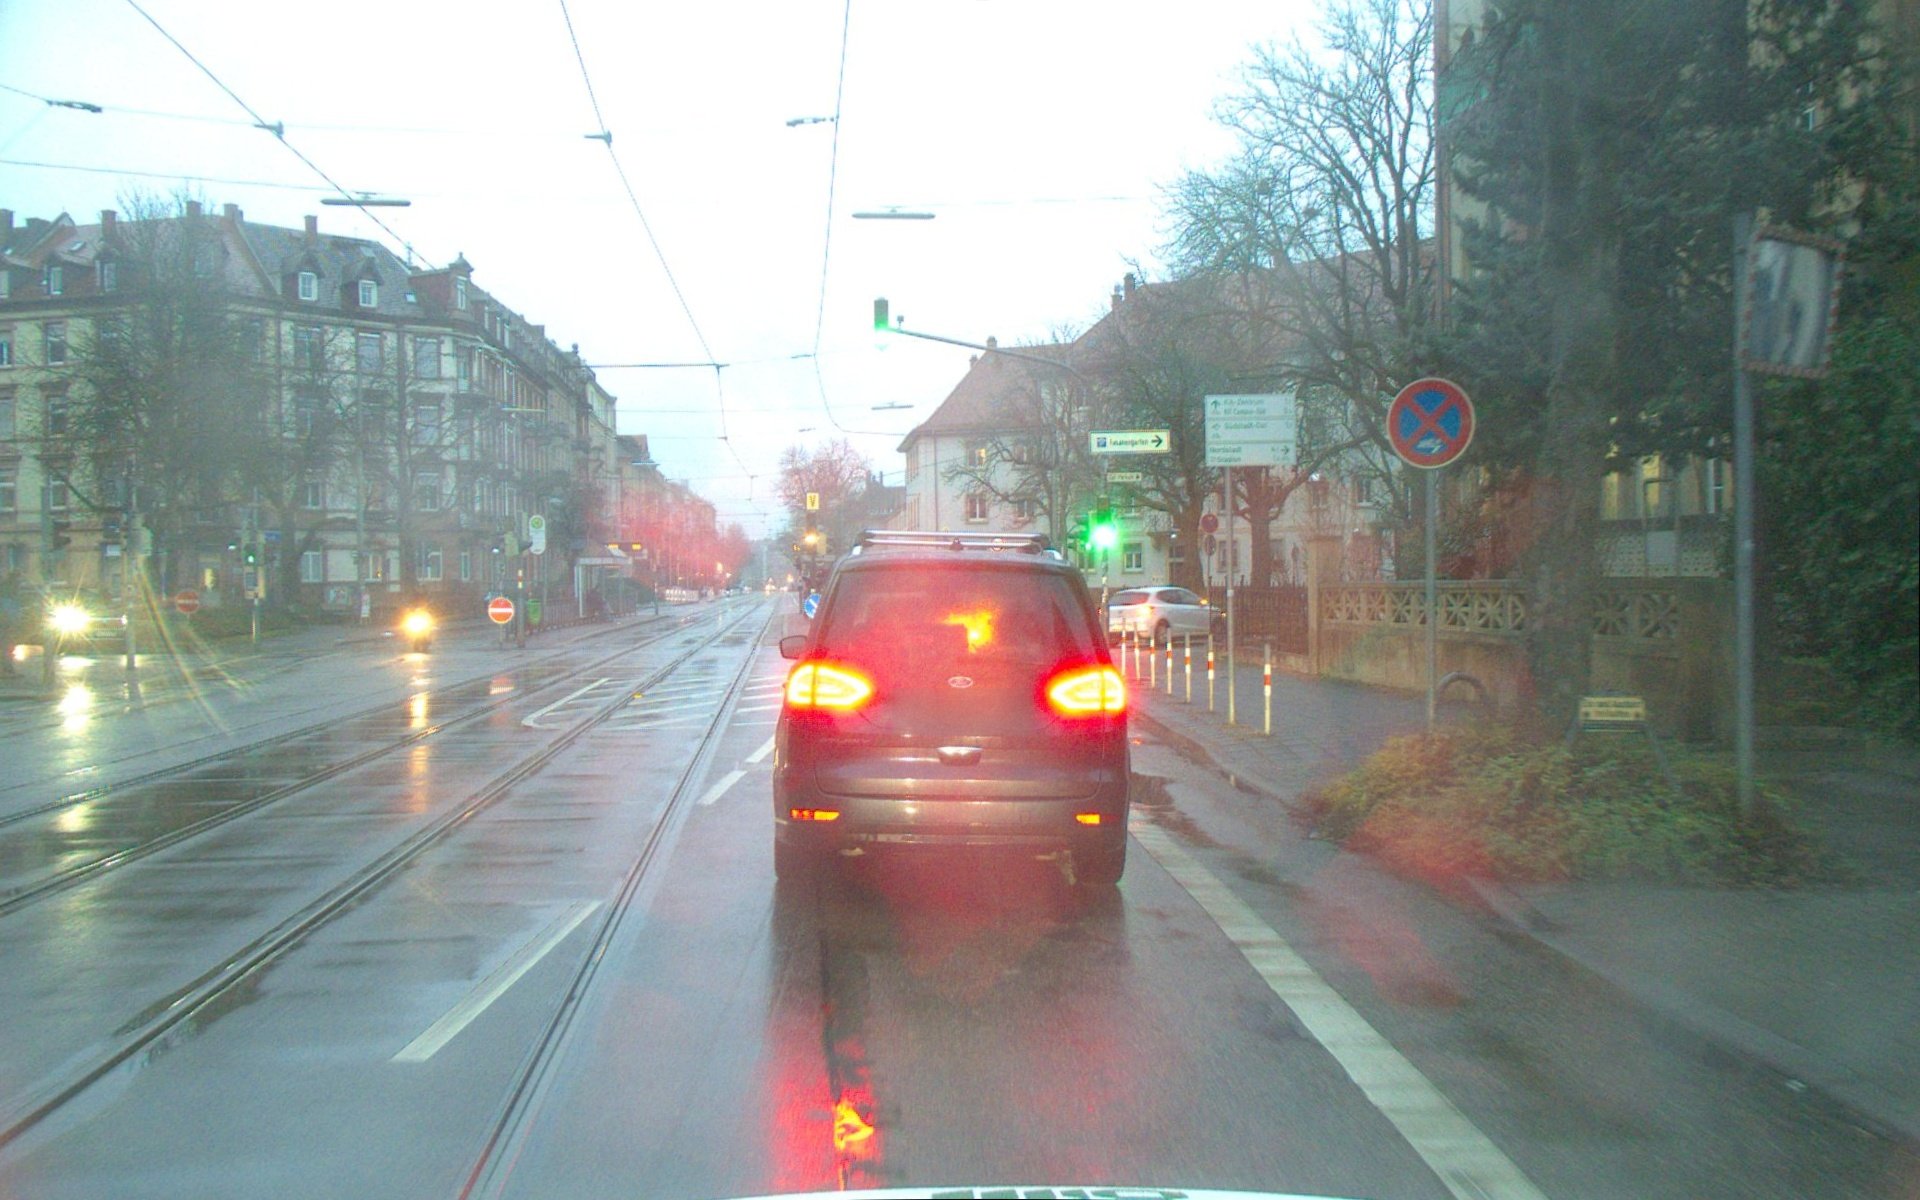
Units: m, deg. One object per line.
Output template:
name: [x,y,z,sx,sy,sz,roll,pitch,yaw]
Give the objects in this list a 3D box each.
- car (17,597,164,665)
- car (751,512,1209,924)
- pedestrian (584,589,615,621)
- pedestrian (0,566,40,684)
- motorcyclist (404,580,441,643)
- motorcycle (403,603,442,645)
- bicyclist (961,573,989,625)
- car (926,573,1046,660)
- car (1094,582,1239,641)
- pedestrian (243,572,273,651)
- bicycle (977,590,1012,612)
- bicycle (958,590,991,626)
car: [-23.269,0.794,44.233,3.921,1.702,2.014,0,1,37]
car: [-0.037,0.525,9.855,2.062,1.848,4.657,1,0,-4]
pedestrian: [-13.497,0.187,61.949,1.027,1.221,0.884,0,0,-5]
pedestrian: [-16.682,0.432,29.020,0.742,2.049,0.646,0,0,30]
motorcyclist: [-13.693,0.292,42.177,0.830,1.575,1.011,-1,0,-16]
motorcycle: [-13.695,0.603,42.182,0.842,1.009,1.911,-1,1,-16]
bicyclist: [0.501,-0.030,55.930,0.704,1.691,1.054,3,0,-10]
car: [0.601,0.320,34.433,1.672,1.691,4.003,0,0,13]
car: [5.267,0.266,41.852,1.641,1.400,3.974,0,1,43]
pedestrian: [-18.506,0.298,43.592,0.695,2.049,0.655,-1,0,-25]
bicycle: [1.940,0.071,93.531,1.814,1.204,0.713,0,0,27]
bicycle: [0.482,0.260,55.964,0.704,1.131,1.937,3,0,-10]
